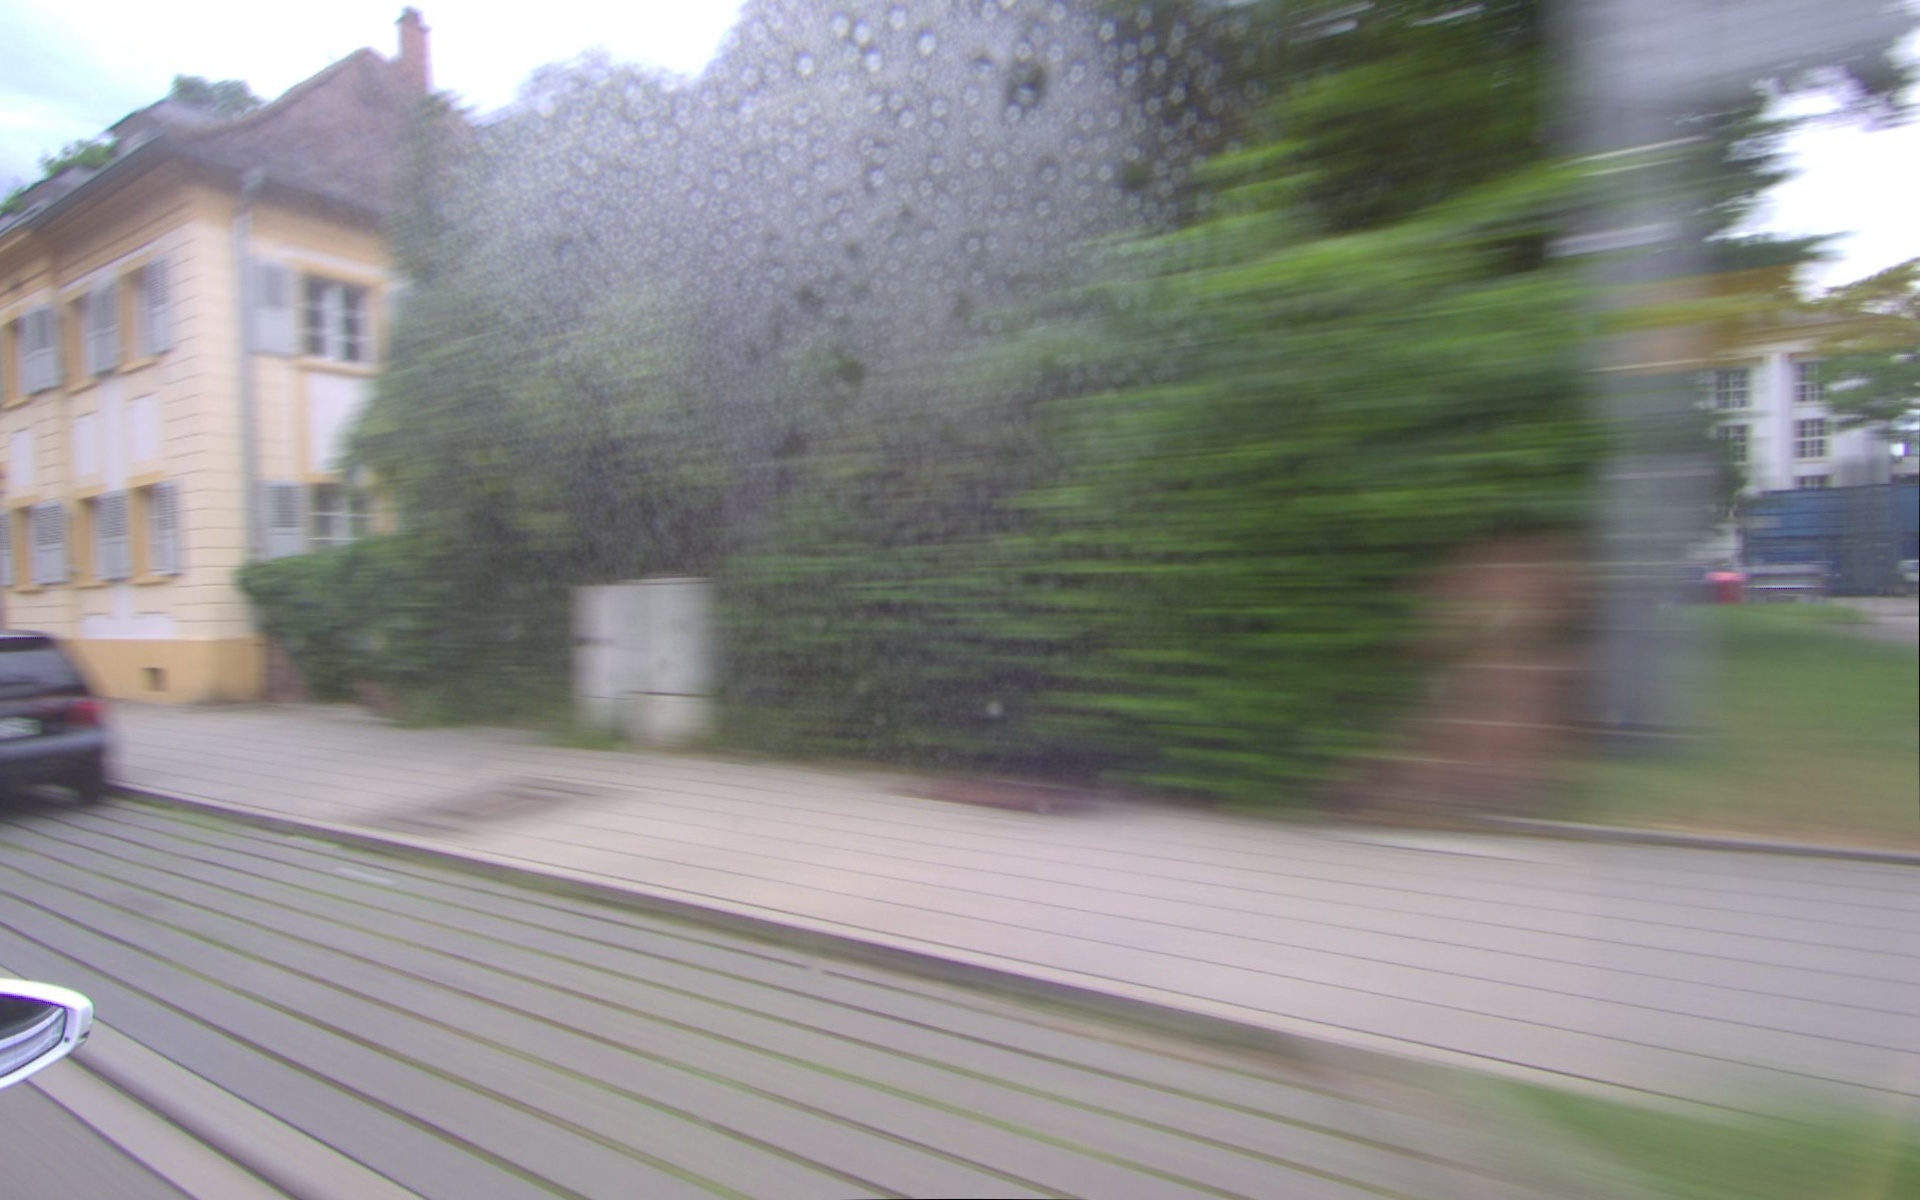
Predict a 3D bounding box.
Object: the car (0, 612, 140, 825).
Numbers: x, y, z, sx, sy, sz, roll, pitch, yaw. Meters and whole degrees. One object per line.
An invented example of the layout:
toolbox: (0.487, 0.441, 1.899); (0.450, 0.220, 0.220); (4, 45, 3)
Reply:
car: (-8.421, 0.891, 8.045); (3.874, 1.453, 1.633); (-1, 3, 32)

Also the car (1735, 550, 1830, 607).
car: (24.933, -0.631, 30.484); (1.983, 1.550, 3.973); (-2, -1, 37)

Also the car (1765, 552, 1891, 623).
car: (21.081, -0.278, 24.484); (1.983, 1.550, 3.973); (-2, -1, 37)
